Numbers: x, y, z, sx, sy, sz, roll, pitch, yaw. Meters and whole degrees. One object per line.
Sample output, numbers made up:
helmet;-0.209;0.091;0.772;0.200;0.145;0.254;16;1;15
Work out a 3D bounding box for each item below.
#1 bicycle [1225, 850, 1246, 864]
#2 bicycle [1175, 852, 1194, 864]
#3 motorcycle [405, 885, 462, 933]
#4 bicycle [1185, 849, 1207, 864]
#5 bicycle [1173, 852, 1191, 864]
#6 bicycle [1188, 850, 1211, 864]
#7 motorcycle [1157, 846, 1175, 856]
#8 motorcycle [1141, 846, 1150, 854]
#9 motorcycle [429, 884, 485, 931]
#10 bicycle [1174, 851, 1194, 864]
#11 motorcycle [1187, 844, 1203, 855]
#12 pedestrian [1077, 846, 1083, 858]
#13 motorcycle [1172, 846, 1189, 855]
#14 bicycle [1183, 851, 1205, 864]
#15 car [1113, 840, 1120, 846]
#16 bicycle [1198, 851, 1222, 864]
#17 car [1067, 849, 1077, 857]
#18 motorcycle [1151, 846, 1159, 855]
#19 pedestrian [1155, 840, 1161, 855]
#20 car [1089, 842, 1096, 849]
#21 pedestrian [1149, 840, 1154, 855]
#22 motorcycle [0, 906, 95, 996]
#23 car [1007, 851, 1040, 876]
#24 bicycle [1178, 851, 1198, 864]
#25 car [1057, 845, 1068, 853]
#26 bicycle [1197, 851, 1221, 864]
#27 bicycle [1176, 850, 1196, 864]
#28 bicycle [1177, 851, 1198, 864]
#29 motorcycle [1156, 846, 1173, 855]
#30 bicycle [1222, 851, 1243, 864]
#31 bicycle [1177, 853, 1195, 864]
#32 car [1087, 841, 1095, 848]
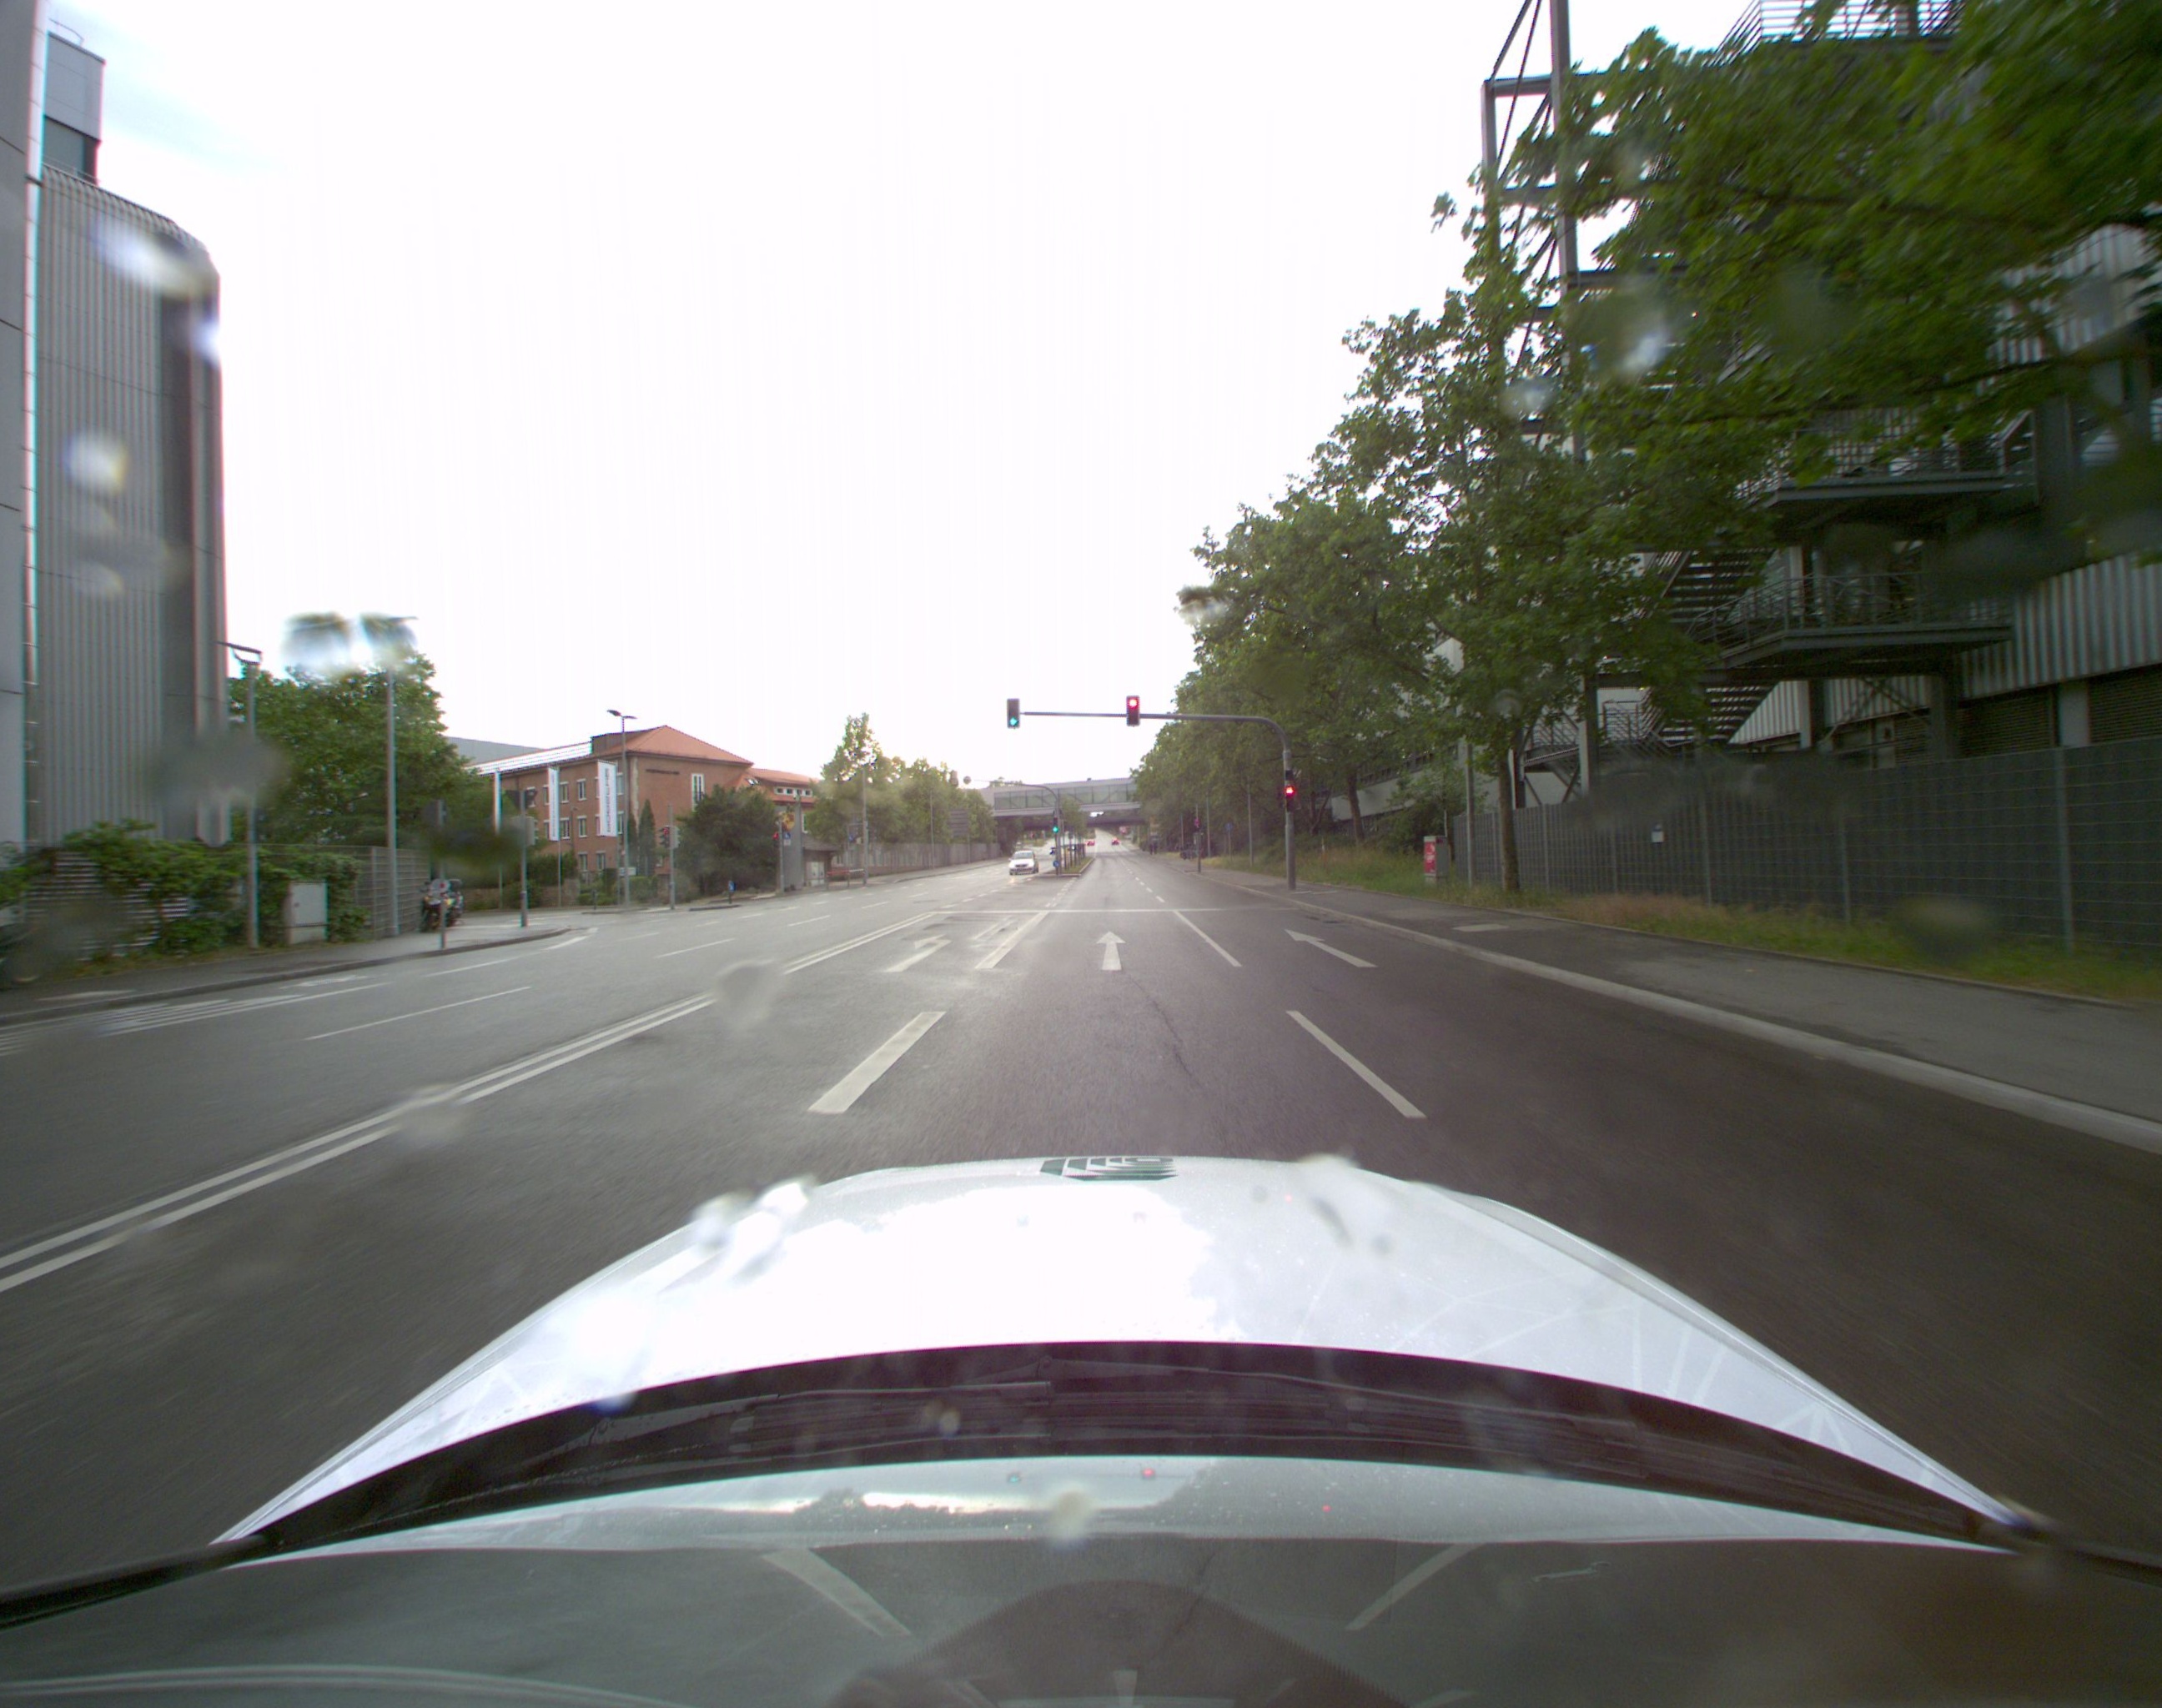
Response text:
bicycle;14.888;0.321;78.625;1.982;1.328;0.576;0;-1;2
bicycle;11.067;0.420;87.131;1.952;1.328;0.576;0;-1;2
motorcycle;-18.559;1.544;23.402;0.774;1.218;2.487;-2;0;-27
bicycle;10.835;0.230;76.920;1.982;1.340;0.541;0;-1;2
bicycle;11.261;0.482;91.230;1.955;1.328;0.654;0;-1;2
bicycle;10.578;0.260;72.656;1.982;1.216;0.541;0;-1;2
motorcycle;11.941;-0.405;114.734;2.354;1.202;0.724;-3;0;9
motorcycle;11.274;-0.757;142.296;0.792;1.311;2.363;-3;0;-16
motorcycle;-19.811;1.652;25.926;1.030;1.337;2.748;-3;0;-30
bicycle;10.496;0.364;82.666;1.982;1.328;0.576;0;-1;2
motorcycle;17.314;-0.721;123.654;2.354;1.476;0.724;-3;0;9
pedestrian;-0.226;-0.396;141.173;0.848;2.004;0.875;-3;0;3
motorcycle;14.186;-0.487;115.910;2.354;1.202;0.724;-3;0;9
bicycle;10.769;0.322;77.614;1.982;1.242;0.541;0;-1;2
car;9.673;-2.914;219.937;1.867;1.497;4.070;0;-1;3
bicycle;11.173;0.293;70.606;1.982;1.094;0.541;0;-1;2
car;-2.022;-0.309;178.631;1.870;1.624;3.781;-3;0;2
motorcycle;12.485;-0.585;137.221;0.789;1.311;2.371;-3;0;-6
pedestrian;10.821;-0.904;114.412;0.619;2.013;0.606;-3;0;2
car;3.145;-2.435;229.815;1.877;1.762;3.971;0;-1;2
pedestrian;9.914;-0.877;114.687;0.619;2.013;0.606;-3;0;2
motorcycle;-16.166;1.458;11.917;0.782;1.247;2.158;-2;0;1
car;-3.985;0.616;57.014;1.870;1.624;3.781;-3;0;2
bicycle;11.172;0.392;85.177;1.982;1.328;0.576;0;-1;2
car;-3.605;-0.963;160.012;1.870;1.624;3.781;-3;0;2
bicycle;11.197;0.302;71.174;1.982;1.094;0.541;0;-1;2
bicycle;10.836;0.327;84.334;1.982;1.430;0.723;0;-1;2
bicycle;10.466;0.355;79.949;1.982;1.242;0.541;0;-1;2
motorcycle;12.125;-0.480;118.322;2.354;1.202;0.724;-3;0;9
bicycle;14.852;0.339;79.793;1.982;1.328;0.576;0;-1;2
bicycle;11.912;0.505;92.617;1.955;1.328;0.654;0;-1;2
car;2.721;-2.676;223.891;1.985;1.762;4.002;0;-1;2
